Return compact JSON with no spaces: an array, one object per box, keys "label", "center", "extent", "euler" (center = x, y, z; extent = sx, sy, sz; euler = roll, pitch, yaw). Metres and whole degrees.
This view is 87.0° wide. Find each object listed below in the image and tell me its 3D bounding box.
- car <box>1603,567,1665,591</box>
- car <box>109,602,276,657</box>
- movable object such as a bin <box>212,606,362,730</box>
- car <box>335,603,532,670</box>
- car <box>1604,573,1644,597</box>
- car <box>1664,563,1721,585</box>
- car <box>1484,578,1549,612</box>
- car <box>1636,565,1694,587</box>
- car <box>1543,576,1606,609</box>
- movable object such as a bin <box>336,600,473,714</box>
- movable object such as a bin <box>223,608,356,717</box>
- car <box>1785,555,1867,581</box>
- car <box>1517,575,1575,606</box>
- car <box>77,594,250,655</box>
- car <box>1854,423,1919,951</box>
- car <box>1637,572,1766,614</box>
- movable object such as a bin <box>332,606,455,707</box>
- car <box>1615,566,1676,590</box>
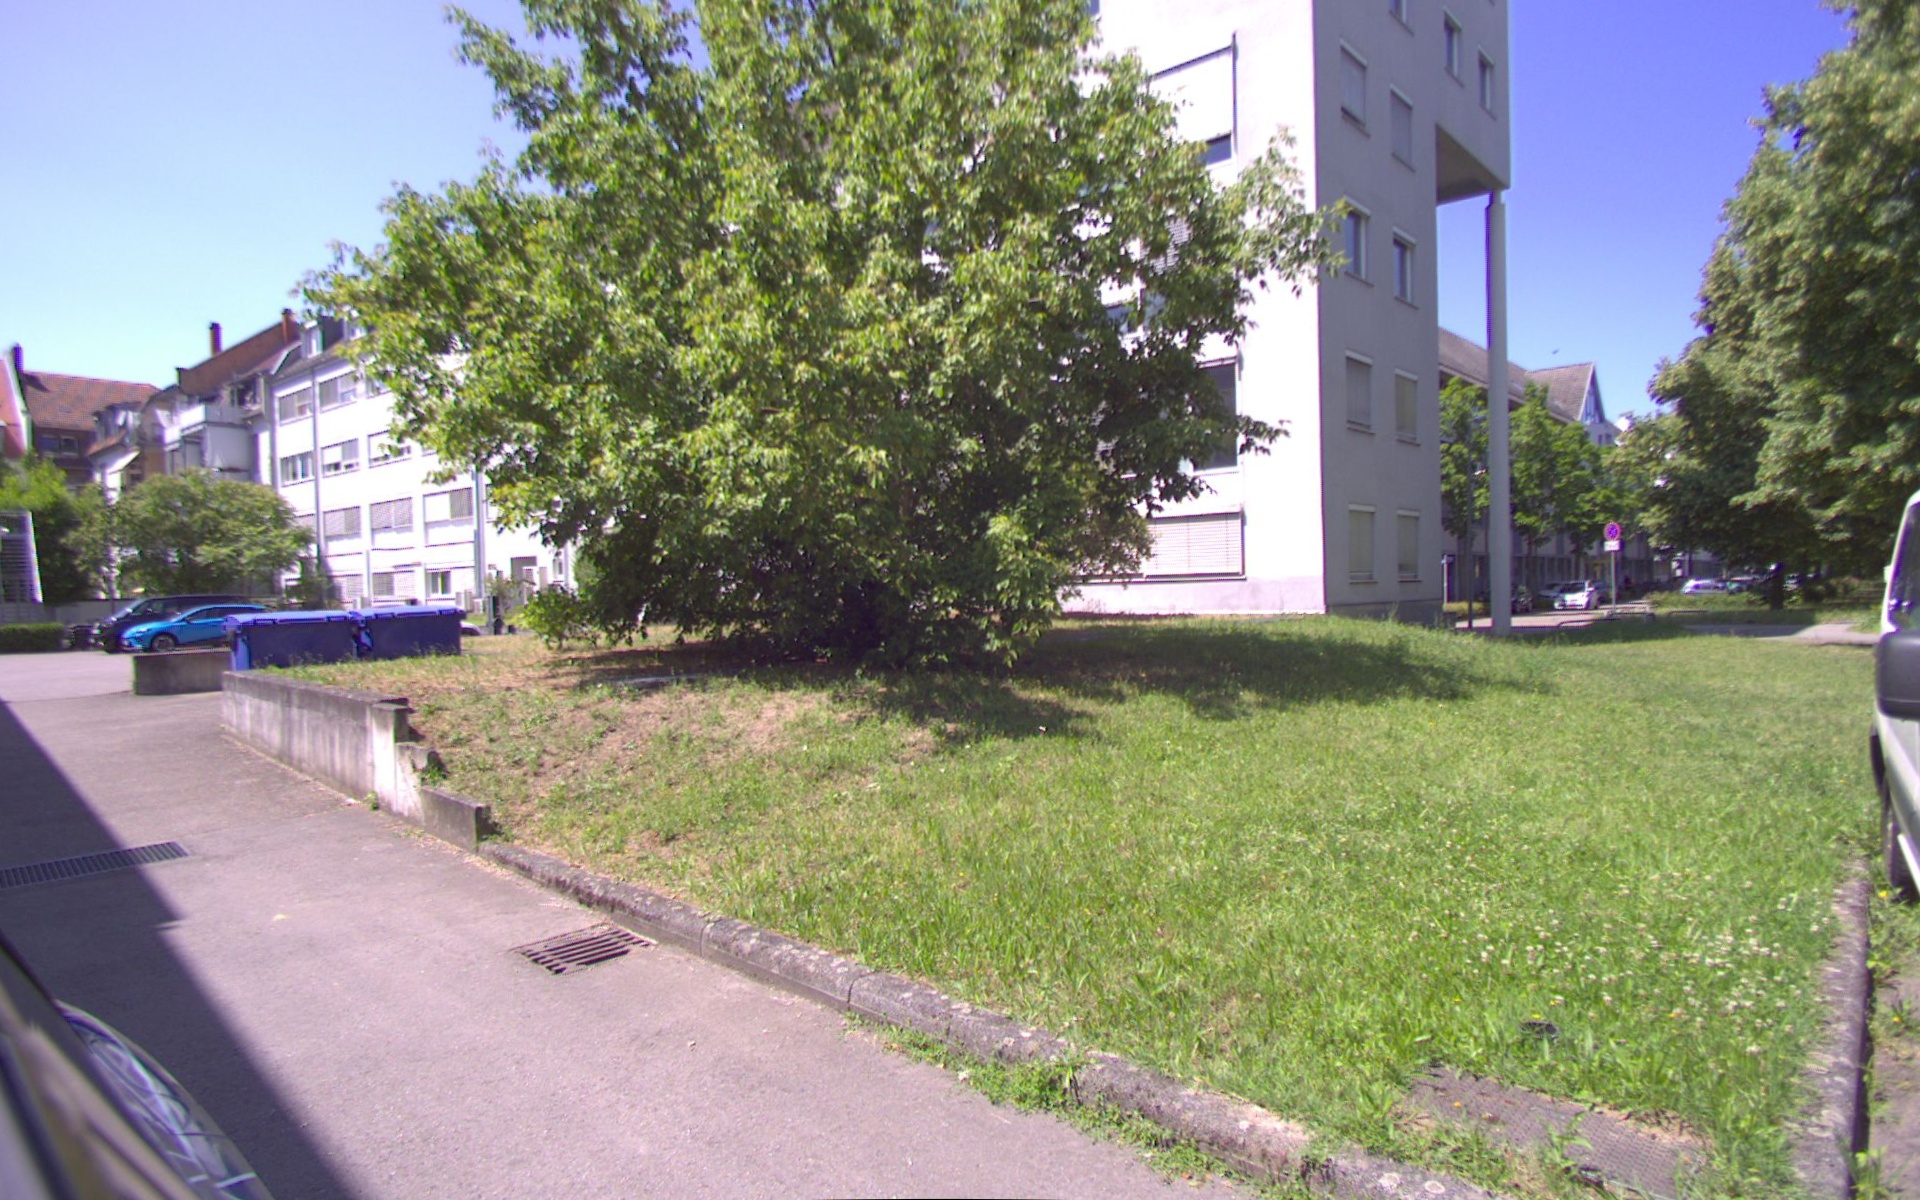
[{"label":"car","center":[53.787,-1.686,80.801],"extent":[3.994,1.746,1.770],"euler":[-1,1,37]},{"label":"car","center":[-25.575,0.944,33.837],"extent":[1.857,1.565,4.116],"euler":[-2,1,38]},{"label":"movable object such as a bin","center":[-8.073,0.775,12.145],"extent":[1.104,1.337,1.240],"euler":[-2,1,44]},{"label":"car","center":[-12.869,0.842,24.899],"extent":[1.710,1.447,3.947],"euler":[-2,0,40]},{"label":"car","center":[47.387,-1.070,72.205],"extent":[1.974,1.630,4.117],"euler":[-1,1,39]},{"label":"car","center":[65.389,-2.302,90.366],"extent":[3.994,1.746,1.770],"euler":[-1,1,37]},{"label":"car","center":[28.727,-0.291,52.223],"extent":[1.977,1.630,4.112],"euler":[-1,1,43]},{"label":"car","center":[60.601,-2.067,87.026],"extent":[3.994,1.746,1.770],"euler":[-1,1,37]},{"label":"car","center":[32.161,-0.408,52.933],"extent":[1.977,1.630,4.112],"euler":[-1,1,43]},{"label":"movable object such as a bin","center":[-7.191,0.705,13.106],"extent":[1.104,1.337,1.240],"euler":[-2,1,44]},{"label":"movable object such as a bin","center":[-9.064,0.809,13.690],"extent":[1.104,1.337,1.240],"euler":[-2,1,44]},{"label":"car","center":[58.840,-2.170,68.850],"extent":[4.168,1.630,1.950],"euler":[-1,1,41]},{"label":"car","center":[33.078,-0.560,57.044],"extent":[1.976,1.630,4.112],"euler":[-1,1,43]},{"label":"car","center":[-27.780,0.803,35.412],"extent":[1.999,1.845,4.392],"euler":[-1,2,40]},{"label":"car","center":[3.972,0.360,2.715],"extent":[1.998,1.926,4.742],"euler":[-4,-1,38]},{"label":"car","center":[30.764,-0.273,42.017],"extent":[4.169,1.630,1.949],"euler":[-1,1,41]},{"label":"movable object such as a bin","center":[-8.210,0.788,14.665],"extent":[1.104,1.337,1.240],"euler":[-2,1,44]},{"label":"car","center":[55.772,-1.787,82.317],"extent":[3.994,1.746,1.770],"euler":[-1,1,37]}]
